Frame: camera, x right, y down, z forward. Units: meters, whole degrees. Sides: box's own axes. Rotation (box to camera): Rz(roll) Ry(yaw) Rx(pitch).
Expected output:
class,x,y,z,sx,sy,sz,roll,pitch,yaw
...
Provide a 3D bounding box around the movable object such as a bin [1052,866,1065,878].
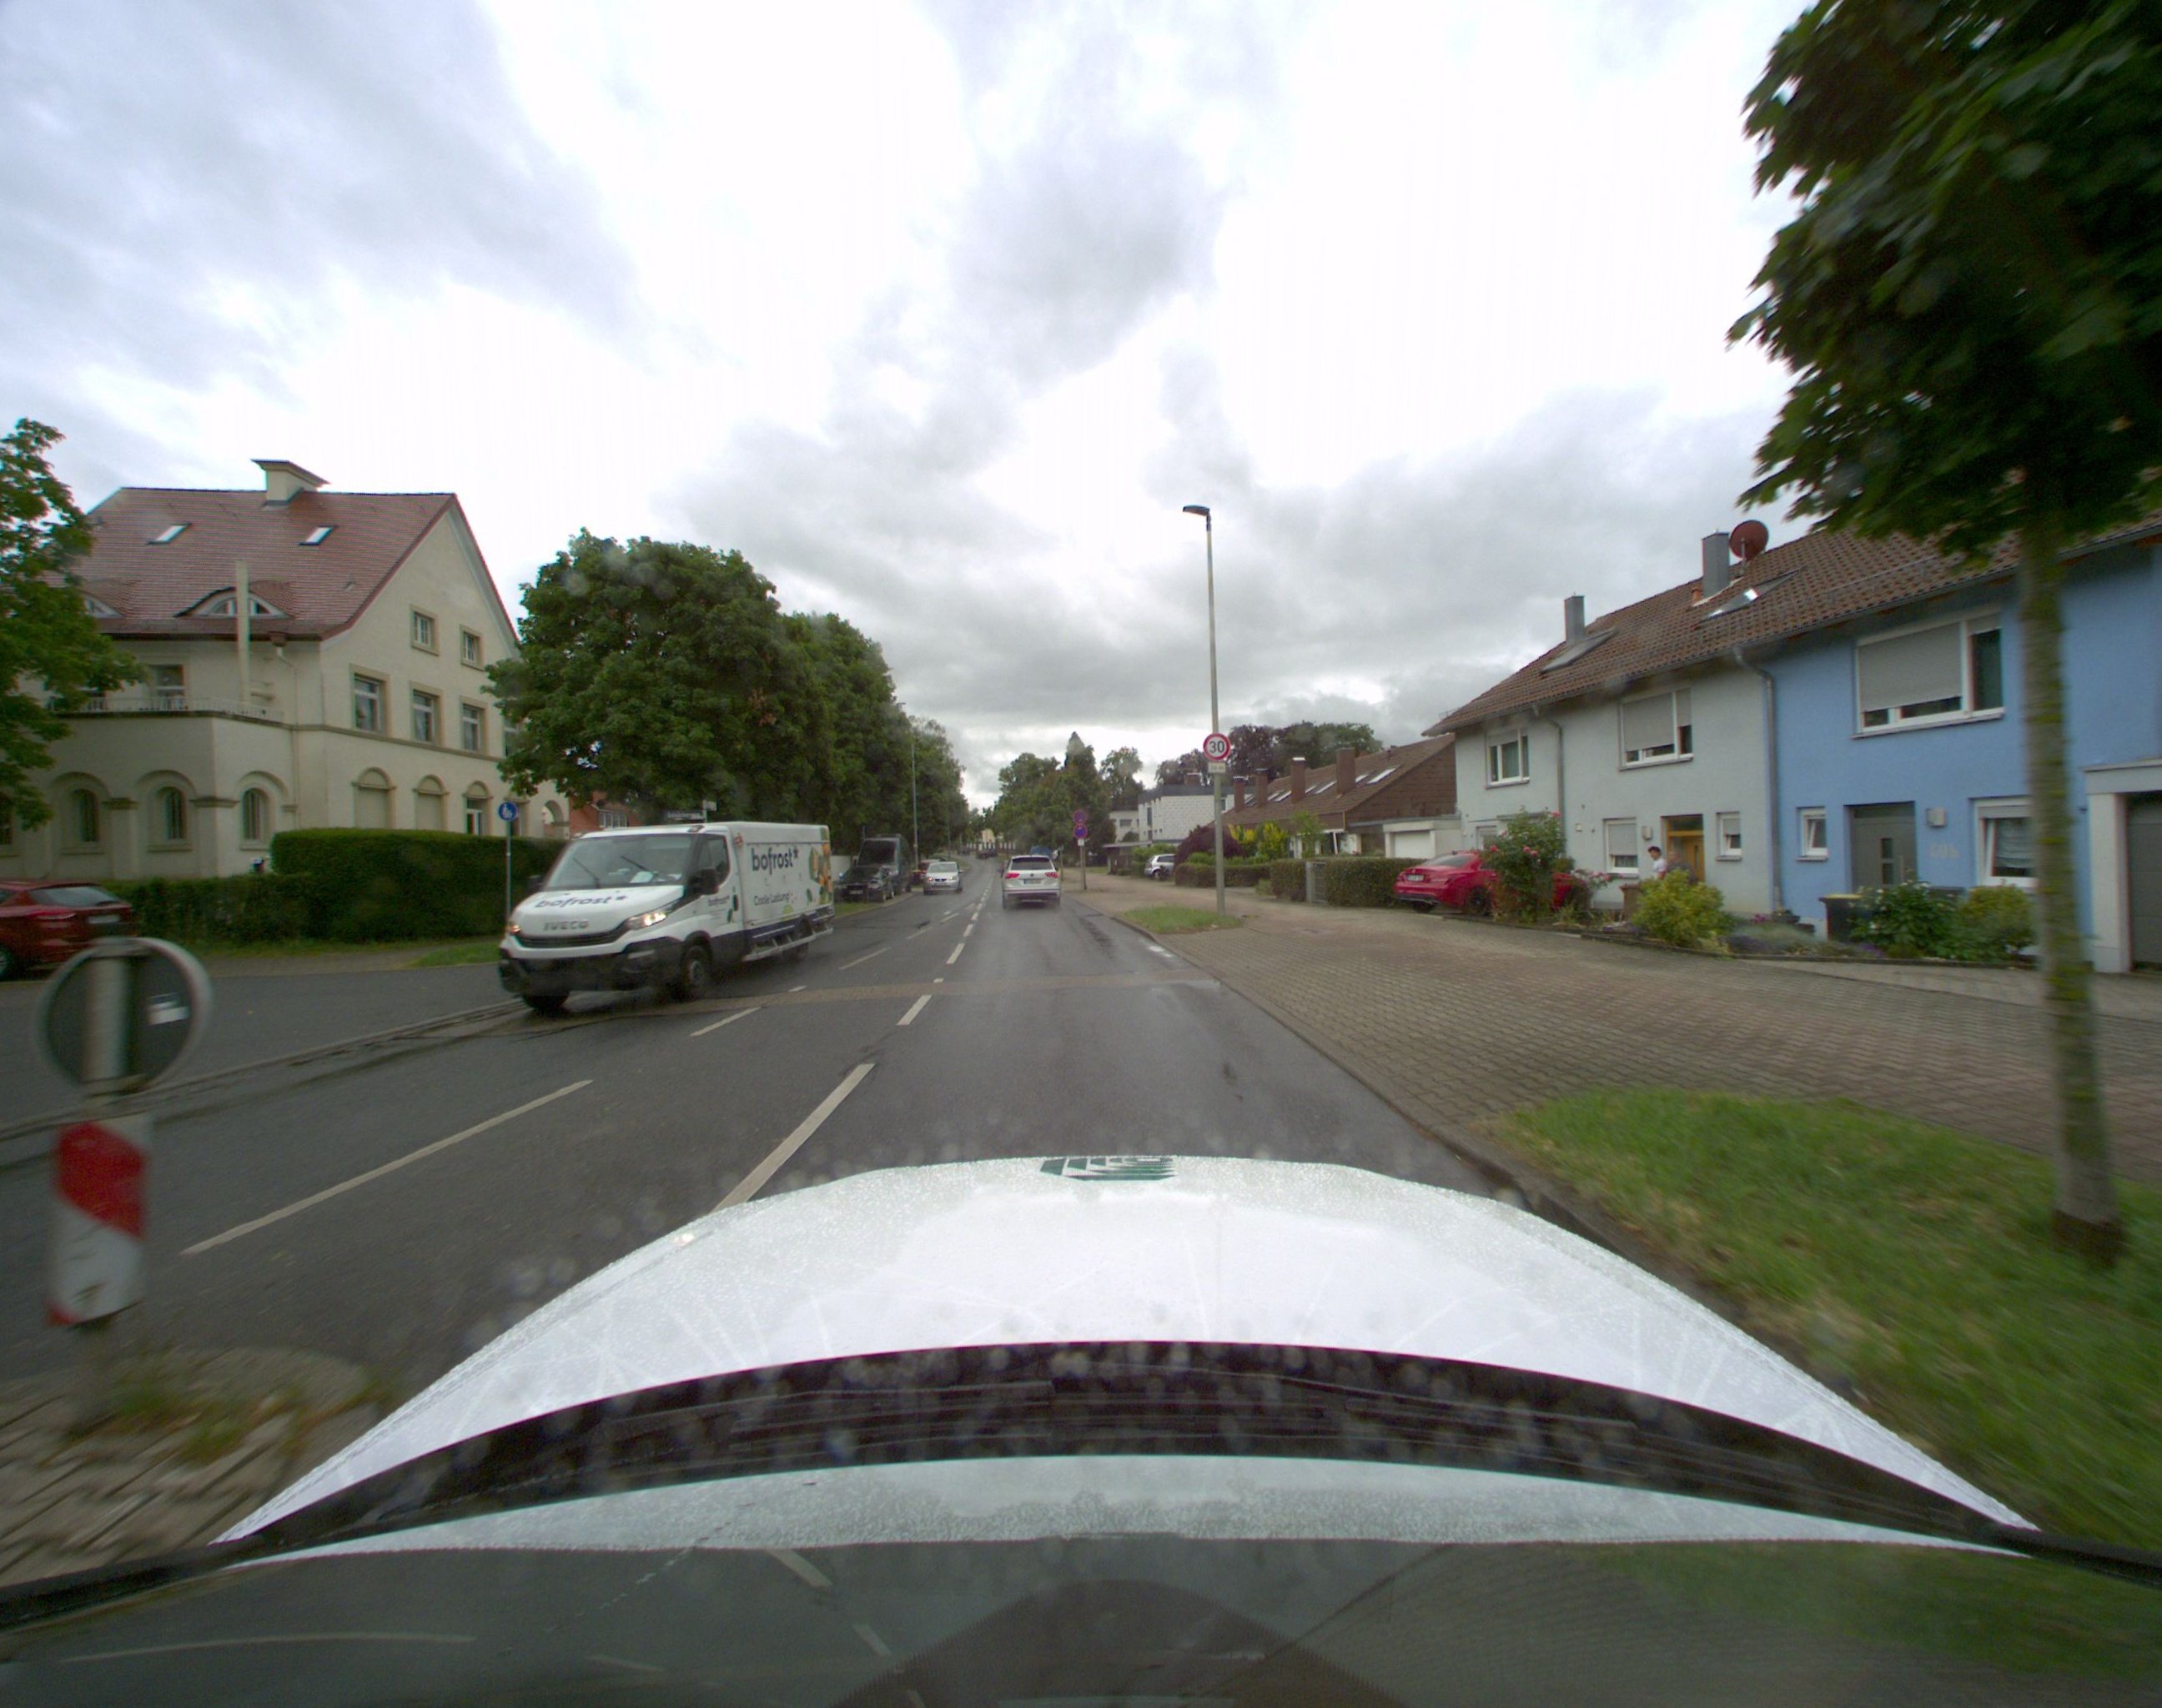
class,x,y,z,sx,sy,sz,roll,pitch,yaw
movable object such as a bin,-1.592,1.301,57.976,0.654,0.800,0.604,-5,-1,19

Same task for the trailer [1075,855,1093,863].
class,x,y,z,sx,sy,sz,roll,pitch,yaw
trailer,0.362,0.592,98.188,2.038,0.883,1.363,-1,0,-4

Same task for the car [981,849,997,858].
class,x,y,z,sx,sy,sz,roll,pitch,yaw
car,-16.744,-0.124,147.725,1.651,1.427,3.967,-1,1,-25

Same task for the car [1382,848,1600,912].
class,x,y,z,sx,sy,sz,roll,pitch,yaw
car,8.956,0.515,17.849,4.313,1.260,1.670,-1,0,-17

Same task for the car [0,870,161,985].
class,x,y,z,sx,sy,sz,roll,pitch,yaw
car,-17.920,1.169,12.959,4.021,1.651,1.686,-1,2,-14

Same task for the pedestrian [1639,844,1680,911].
class,x,y,z,sx,sy,sz,roll,pitch,yaw
pedestrian,12.020,0.484,16.931,0.492,1.351,0.567,-2,0,16

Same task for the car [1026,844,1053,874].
class,x,y,z,sx,sy,sz,roll,pitch,yaw
car,-3.865,0.426,74.680,1.991,2.586,5.621,-4,1,-6

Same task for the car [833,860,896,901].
class,x,y,z,sx,sy,sz,roll,pitch,yaw
car,-8.131,0.963,30.883,1.721,1.408,3.816,-2,0,-7

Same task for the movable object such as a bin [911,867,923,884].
class,x,y,z,sx,sy,sz,roll,pitch,yaw
movable object such as a bin,-9.373,1.240,46.664,0.556,0.953,0.549,-2,0,-3

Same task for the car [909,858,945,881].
class,x,y,z,sx,sy,sz,roll,pitch,yaw
car,-10.387,1.018,55.249,1.991,1.403,4.546,-2,0,-7

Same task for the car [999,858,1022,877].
class,x,y,z,sx,sy,sz,roll,pitch,yaw
car,-6.078,1.150,70.058,1.767,1.551,3.990,-2,0,-7

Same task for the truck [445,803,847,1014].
class,x,y,z,sx,sy,sz,roll,pitch,yaw
truck,-5.560,0.586,11.891,2.209,2.204,6.466,-1,0,2

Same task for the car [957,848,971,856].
class,x,y,z,sx,sy,sz,roll,pitch,yaw
car,-22.463,-0.461,156.660,1.649,1.427,3.970,-1,1,-23

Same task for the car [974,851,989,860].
class,x,y,z,sx,sy,sz,roll,pitch,yaw
car,-17.226,0.318,140.723,1.649,1.427,3.970,-1,1,-23

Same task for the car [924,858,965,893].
class,x,y,z,sx,sy,sz,roll,pitch,yaw
car,-6.327,0.958,38.011,1.592,1.464,3.445,-2,0,-6

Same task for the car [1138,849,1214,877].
class,x,y,z,sx,sy,sz,roll,pitch,yaw
car,5.445,0.506,46.956,3.985,1.442,1.842,-2,0,-8

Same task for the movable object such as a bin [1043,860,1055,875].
class,x,y,z,sx,sy,sz,roll,pitch,yaw
movable object such as a bin,-2.313,0.947,58.579,0.609,1.015,0.565,-7,-1,19

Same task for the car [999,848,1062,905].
class,x,y,z,sx,sy,sz,roll,pitch,yaw
car,-1.690,0.711,27.030,1.861,1.651,3.994,-3,0,-4

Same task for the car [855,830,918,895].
class,x,y,z,sx,sy,sz,roll,pitch,yaw
car,-8.921,0.351,37.817,1.991,2.728,5.926,-1,0,-6

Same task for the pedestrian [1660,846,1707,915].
class,x,y,z,sx,sy,sz,roll,pitch,yaw
pedestrian,12.092,0.523,16.351,0.537,1.351,0.526,-2,0,-20

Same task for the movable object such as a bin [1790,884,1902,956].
class,x,y,z,sx,sy,sz,roll,pitch,yaw
movable object such as a bin,11.362,0.962,12.117,0.892,0.963,0.815,-2,0,-6

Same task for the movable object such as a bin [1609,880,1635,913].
class,x,y,z,sx,sy,sz,roll,pitch,yaw
movable object such as a bin,10.548,0.826,15.891,0.255,0.626,0.324,-2,0,-6
